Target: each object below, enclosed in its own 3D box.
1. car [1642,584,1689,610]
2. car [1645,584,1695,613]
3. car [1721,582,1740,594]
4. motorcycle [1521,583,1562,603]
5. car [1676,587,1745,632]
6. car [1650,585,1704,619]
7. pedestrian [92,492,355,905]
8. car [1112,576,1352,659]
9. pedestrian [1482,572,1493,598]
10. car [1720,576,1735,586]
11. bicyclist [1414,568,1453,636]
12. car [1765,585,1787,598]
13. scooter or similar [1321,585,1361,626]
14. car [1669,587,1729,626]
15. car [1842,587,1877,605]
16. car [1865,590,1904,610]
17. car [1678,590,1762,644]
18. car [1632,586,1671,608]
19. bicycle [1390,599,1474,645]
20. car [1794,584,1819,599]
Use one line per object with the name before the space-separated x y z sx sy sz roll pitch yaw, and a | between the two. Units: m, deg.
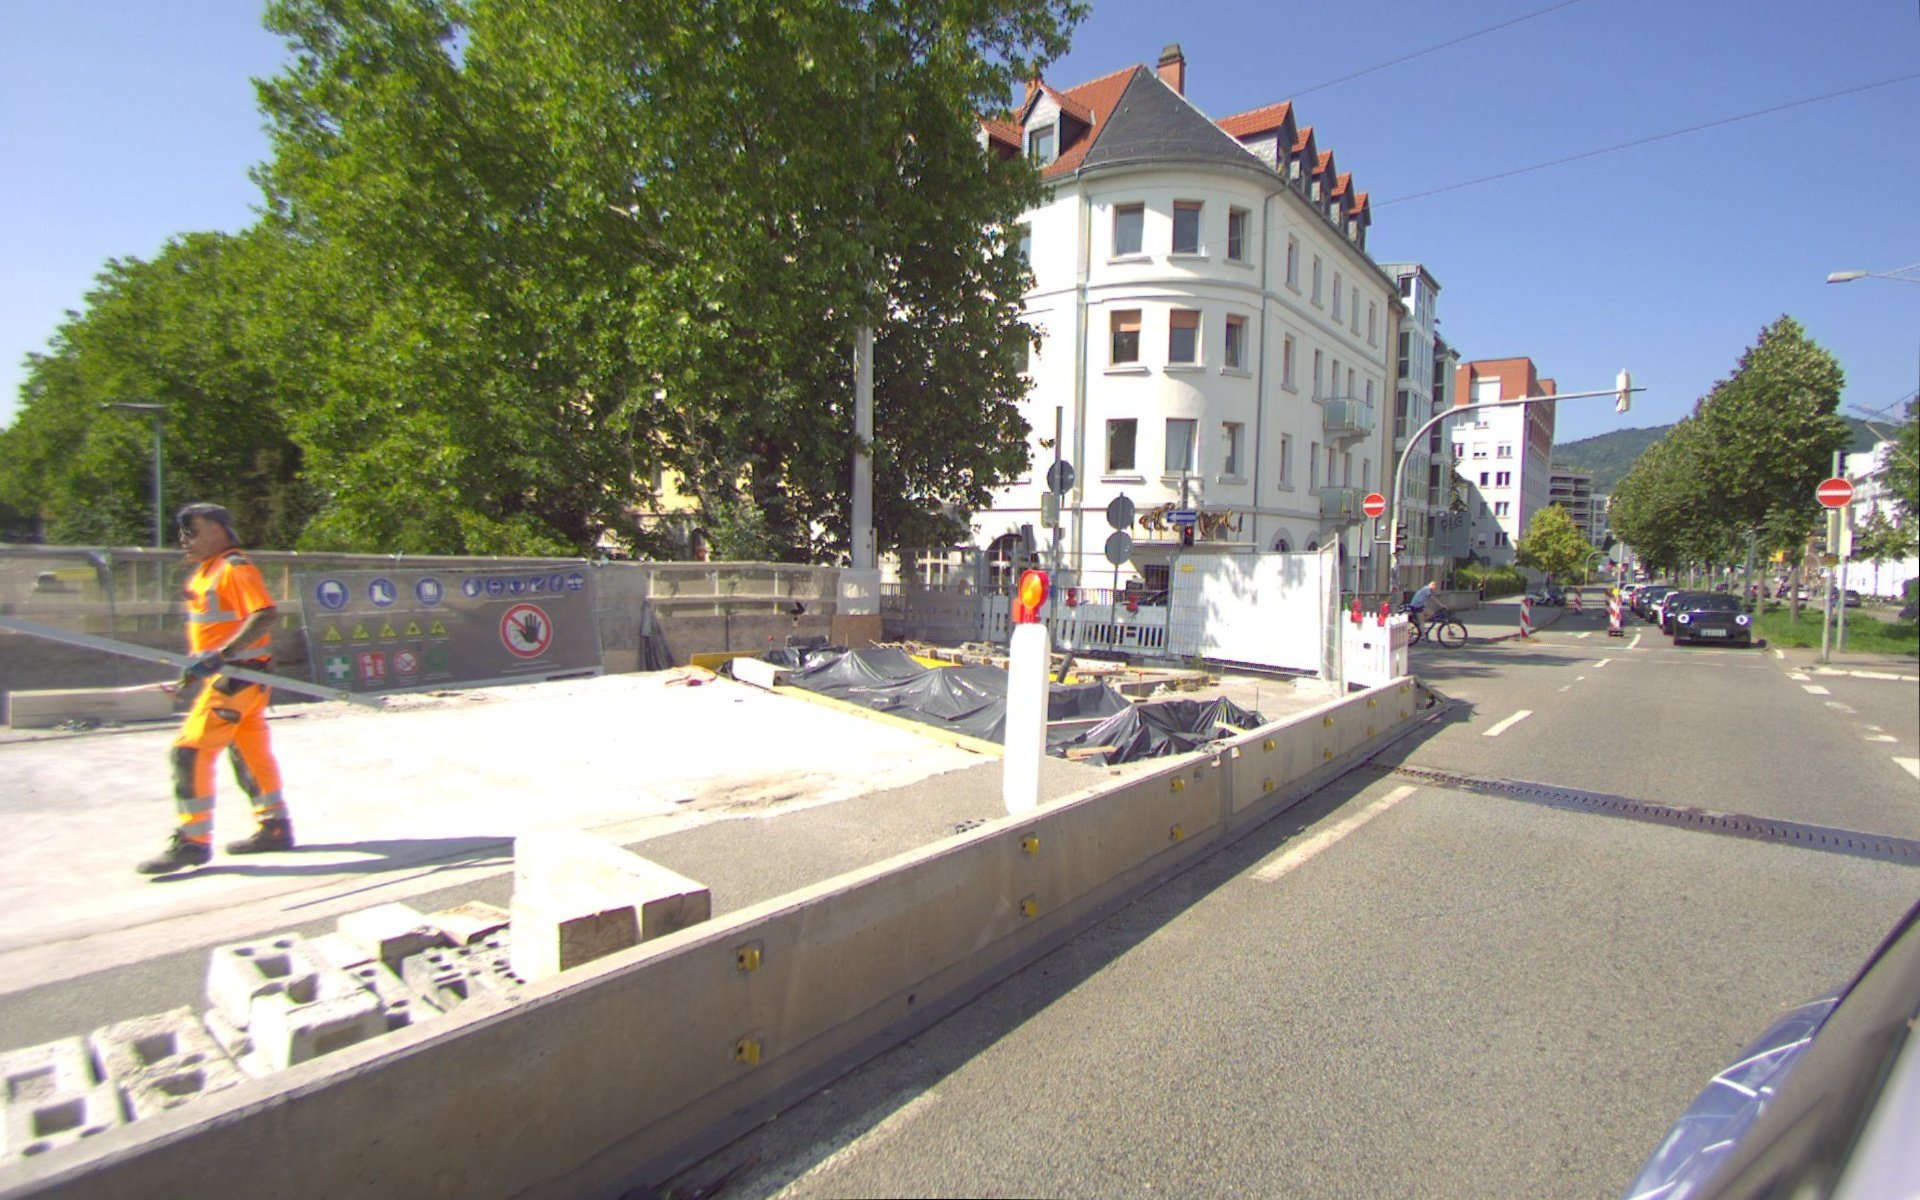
car | 39.418 -0.175 56.604 1.753 1.371 3.959 2 2 29
car | 35.542 -0.094 50.709 1.754 1.371 3.956 2 2 31
car | 101.610 -1.658 133.536 1.787 1.503 3.694 2 2 35
motorcycle | 37.849 -0.474 65.871 2.169 1.180 0.733 3 3 40
car | 25.172 0.281 33.998 1.758 1.371 3.948 2 2 36
car | 31.584 0.053 44.635 1.756 1.371 3.952 2 2 33
pedestrian | -3.660 0.407 5.039 0.818 1.816 0.852 5 3 37
car | 5.550 0.302 20.982 4.525 1.499 1.654 2 1 37
pedestrian | 37.207 -1.085 71.425 0.594 1.785 0.744 3 2 31
car | 125.183 -3.094 165.039 1.787 1.703 3.694 2 2 35
bicyclist | 11.568 0.030 24.727 0.777 1.568 0.704 3 4 28
car | 98.414 -1.056 122.093 1.787 1.503 3.694 2 2 35
scooter or similar | 10.930 0.150 29.020 1.279 1.131 0.339 0 2 -34
car | 28.453 0.206 39.040 1.757 1.371 3.949 2 2 35
car | 79.853 -0.409 89.871 1.728 1.503 3.697 2 2 33
car | 75.805 0.004 83.041 1.728 1.503 3.697 2 2 33
car | 21.253 0.427 28.256 1.759 1.337 3.945 2 2 38
car | 46.030 -0.209 67.385 1.753 1.371 3.959 2 2 29
bicycle | 11.547 0.512 24.775 1.803 1.003 0.703 3 2 29
car | 94.699 -0.947 113.253 1.729 1.502 3.694 4 3 34
